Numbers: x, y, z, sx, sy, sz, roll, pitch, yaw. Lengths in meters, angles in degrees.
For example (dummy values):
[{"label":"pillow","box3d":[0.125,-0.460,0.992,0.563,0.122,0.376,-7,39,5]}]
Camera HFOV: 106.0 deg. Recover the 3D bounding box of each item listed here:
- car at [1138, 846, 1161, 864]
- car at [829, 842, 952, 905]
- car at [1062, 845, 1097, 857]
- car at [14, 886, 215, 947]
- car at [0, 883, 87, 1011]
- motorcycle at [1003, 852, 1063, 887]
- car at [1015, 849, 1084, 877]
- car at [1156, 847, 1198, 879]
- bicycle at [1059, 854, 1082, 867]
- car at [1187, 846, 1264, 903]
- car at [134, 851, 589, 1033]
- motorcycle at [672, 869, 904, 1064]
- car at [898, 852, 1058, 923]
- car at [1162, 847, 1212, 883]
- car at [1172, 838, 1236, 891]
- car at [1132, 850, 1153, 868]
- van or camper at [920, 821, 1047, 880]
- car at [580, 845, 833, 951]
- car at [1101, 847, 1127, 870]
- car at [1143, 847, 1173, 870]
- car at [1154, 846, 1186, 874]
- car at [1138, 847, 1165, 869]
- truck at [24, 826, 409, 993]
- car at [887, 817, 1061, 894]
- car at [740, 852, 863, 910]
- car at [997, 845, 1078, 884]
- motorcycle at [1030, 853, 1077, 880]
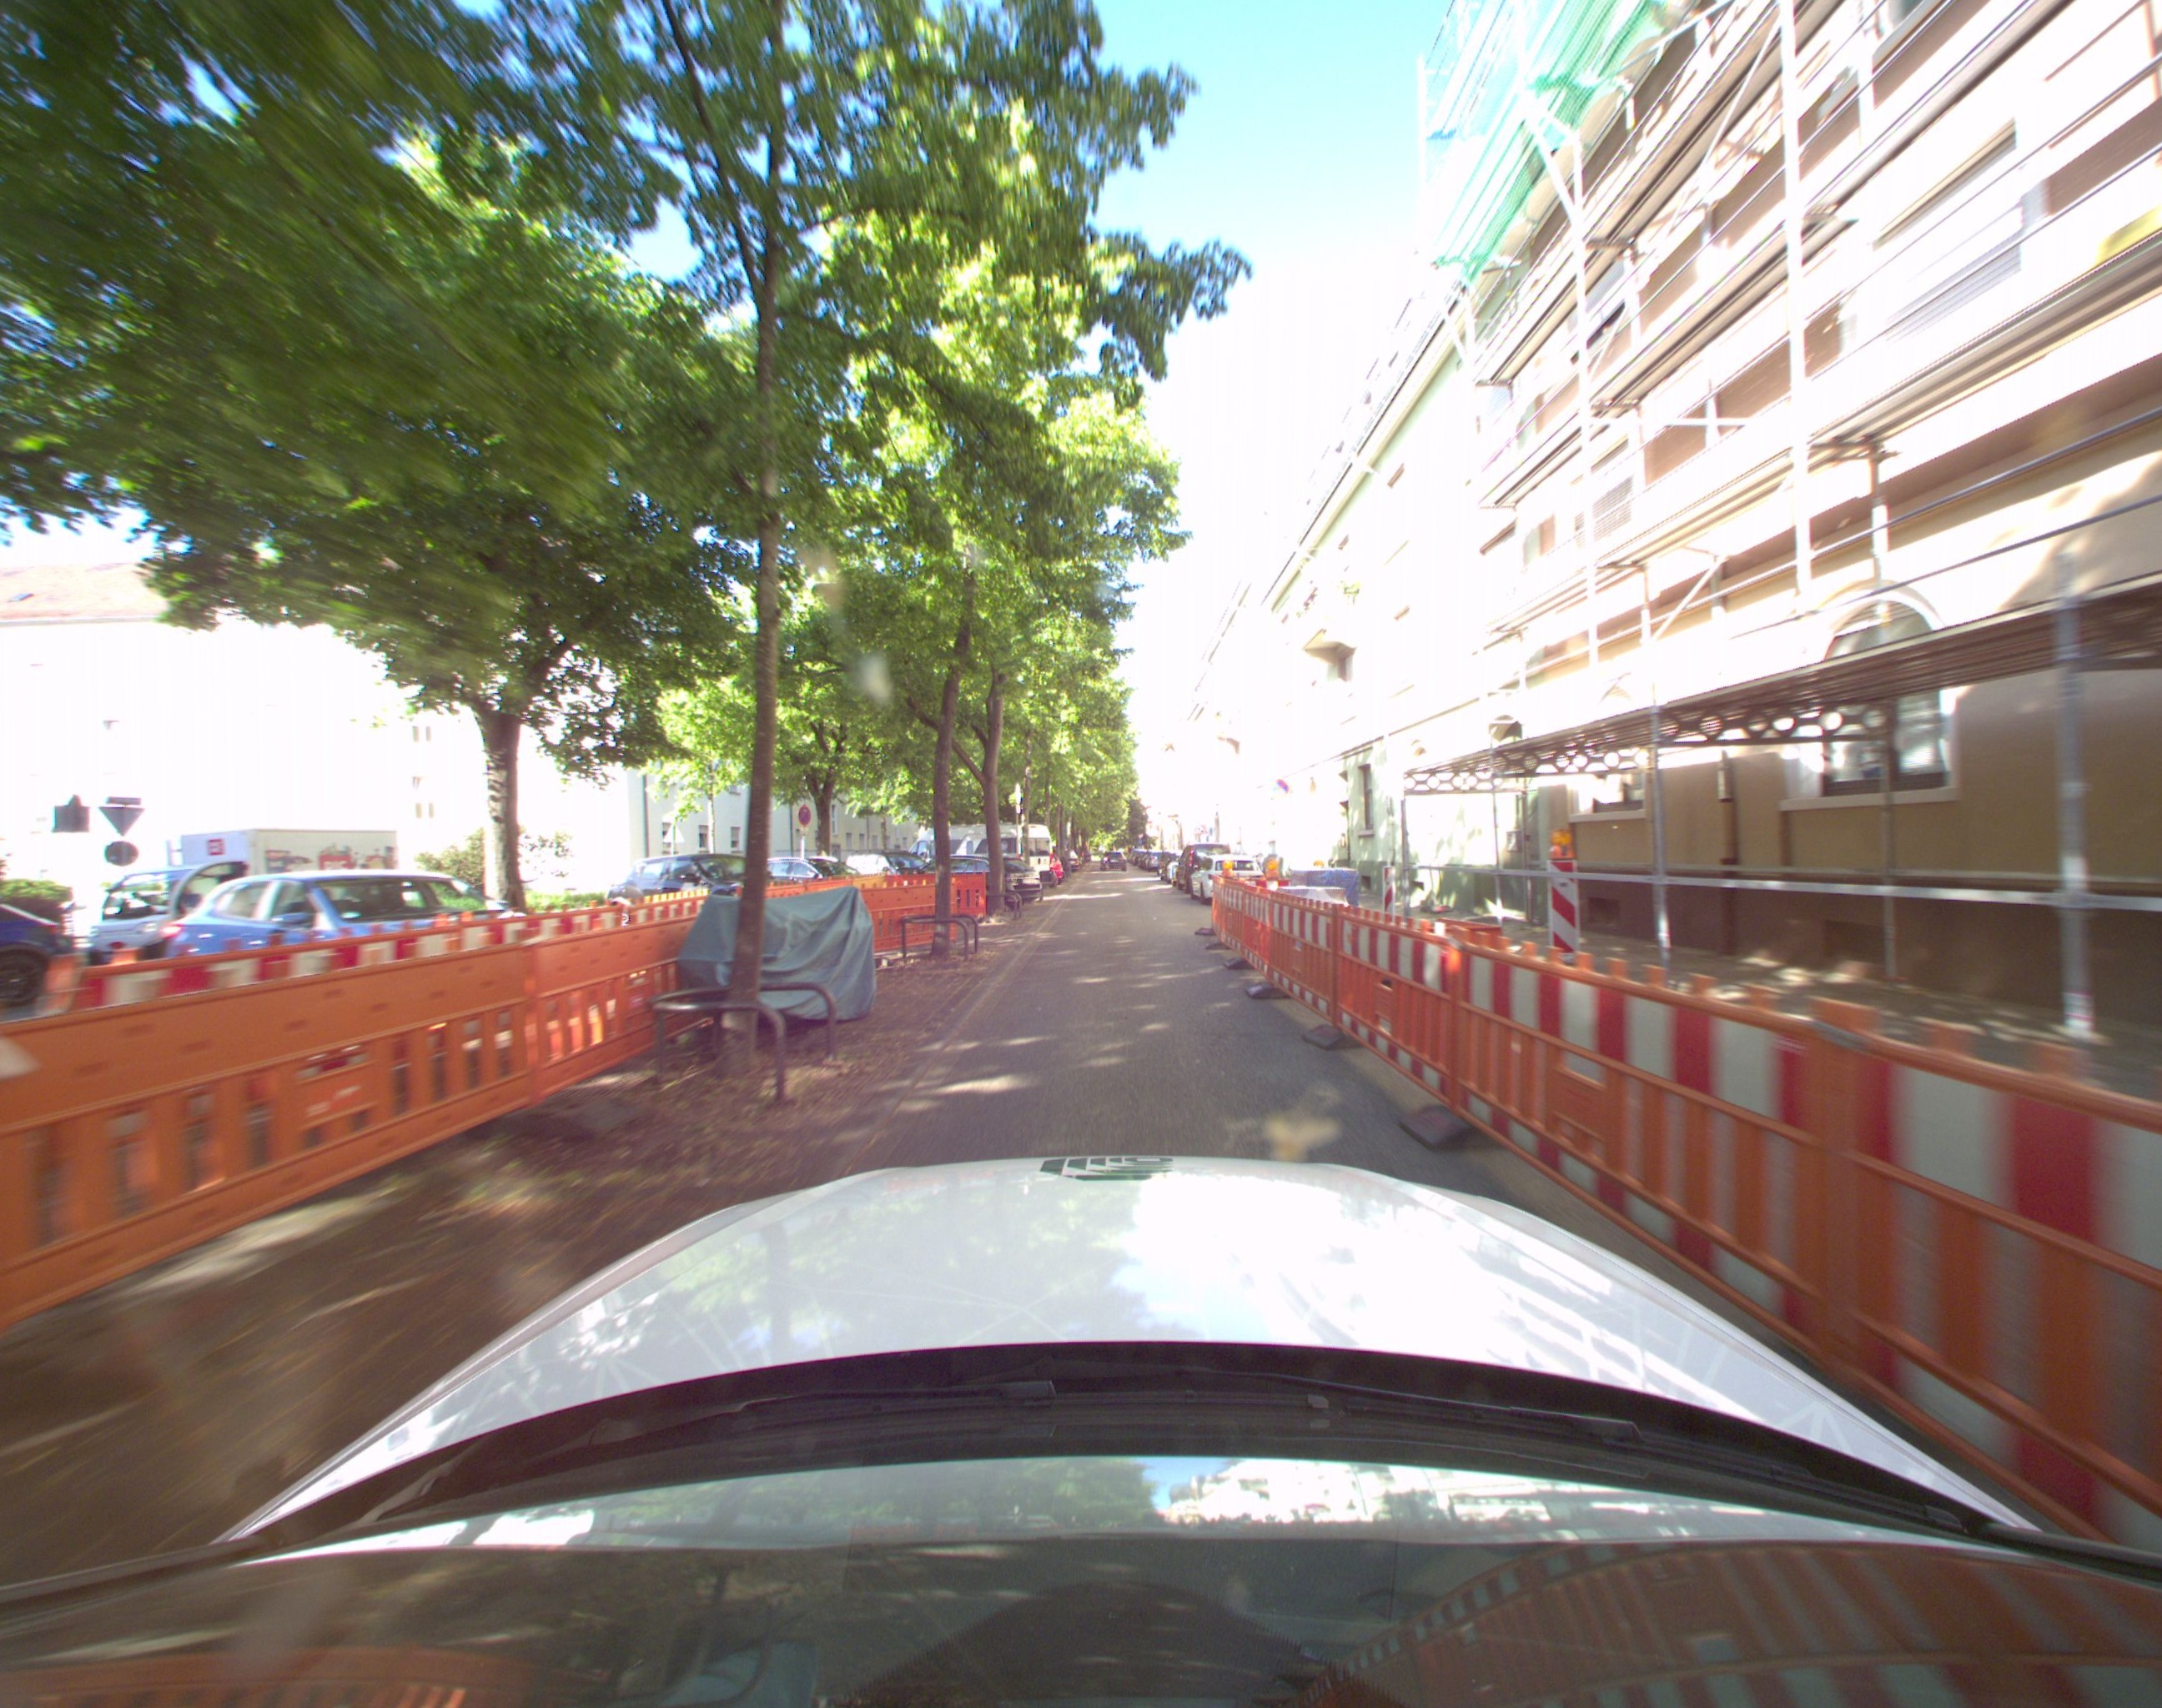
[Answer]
[{"label":"car","box3d":[5.588,0.078,66.989,1.686,1.468,4.007,-1,0,2]},{"label":"car","box3d":[-6.500,0.661,27.531,4.329,1.914,2.012,-2,0,45]},{"label":"car","box3d":[-0.248,-0.386,100.423,4.088,1.466,1.861,0,-1,-9]},{"label":"car","box3d":[-28.485,1.832,24.078,3.971,1.517,1.654,-2,0,2]},{"label":"car","box3d":[-14.534,1.224,9.121,1.616,1.574,4.192,-1,0,0]},{"label":"motorcycle","box3d":[-1.943,0.617,32.769,2.317,1.335,0.966,-1,0,-8]},{"label":"car","box3d":[-1.927,0.542,49.337,3.968,1.474,1.637,-3,0,37]},{"label":"car","box3d":[4.853,0.405,41.709,1.594,1.492,3.965,-2,0,-1]},{"label":"bicycle","box3d":[-0.833,0.523,65.329,1.797,0.994,0.428,-2,0,16]},{"label":"car","box3d":[4.324,0.563,24.995,1.698,1.511,4.286,-2,0,2]},{"label":"car","box3d":[-7.043,0.790,8.014,3.868,1.460,1.585,-2,0,19]},{"label":"motorcycle","box3d":[-2.344,0.817,6.910,0.626,1.324,2.239,-1,0,17]},{"label":"car","box3d":[-2.856,0.923,22.344,4.047,1.525,1.713,-7,-3,31]},{"label":"car","box3d":[4.632,0.443,36.066,1.601,1.420,4.569,-2,0,1]},{"label":"car","box3d":[4.554,0.358,30.638,1.765,1.794,3.990,-2,0,1]},{"label":"car","box3d":[5.787,0.440,77.190,1.797,1.563,4.324,-3,0,3]},{"label":"van or camper","box3d":[-5.063,-0.168,41.892,6.226,2.825,2.423,-1,0,30]},{"label":"car","box3d":[-6.599,0.770,14.348,4.082,1.626,1.708,-3,0,24]},{"label":"car","box3d":[2.409,0.281,58.912,1.707,1.483,4.148,-3,0,3]},{"label":"car","box3d":[5.372,0.291,56.988,1.763,1.431,4.293,-2,0,2]},{"label":"car","box3d":[5.098,0.313,47.217,1.574,1.550,4.045,-1,0,3]},{"label":"car","box3d":[5.327,0.258,62.197,1.760,1.551,4.185,-2,0,2]},{"label":"truck","box3d":[-14.635,0.813,14.254,1.913,2.409,4.268,-3,0,4]},{"label":"car","box3d":[-3.997,0.092,29.846,6.246,2.558,2.353,-1,0,34]},{"label":"car","box3d":[-7.448,0.700,21.743,2.923,1.453,1.250,-1,0,18]},{"label":"car","box3d":[-2.021,0.475,36.925,1.672,1.618,3.836,-3,0,-38]},{"label":"motorcycle","box3d":[-1.369,0.620,40.521,2.134,1.230,0.884,-1,0,10]}]
